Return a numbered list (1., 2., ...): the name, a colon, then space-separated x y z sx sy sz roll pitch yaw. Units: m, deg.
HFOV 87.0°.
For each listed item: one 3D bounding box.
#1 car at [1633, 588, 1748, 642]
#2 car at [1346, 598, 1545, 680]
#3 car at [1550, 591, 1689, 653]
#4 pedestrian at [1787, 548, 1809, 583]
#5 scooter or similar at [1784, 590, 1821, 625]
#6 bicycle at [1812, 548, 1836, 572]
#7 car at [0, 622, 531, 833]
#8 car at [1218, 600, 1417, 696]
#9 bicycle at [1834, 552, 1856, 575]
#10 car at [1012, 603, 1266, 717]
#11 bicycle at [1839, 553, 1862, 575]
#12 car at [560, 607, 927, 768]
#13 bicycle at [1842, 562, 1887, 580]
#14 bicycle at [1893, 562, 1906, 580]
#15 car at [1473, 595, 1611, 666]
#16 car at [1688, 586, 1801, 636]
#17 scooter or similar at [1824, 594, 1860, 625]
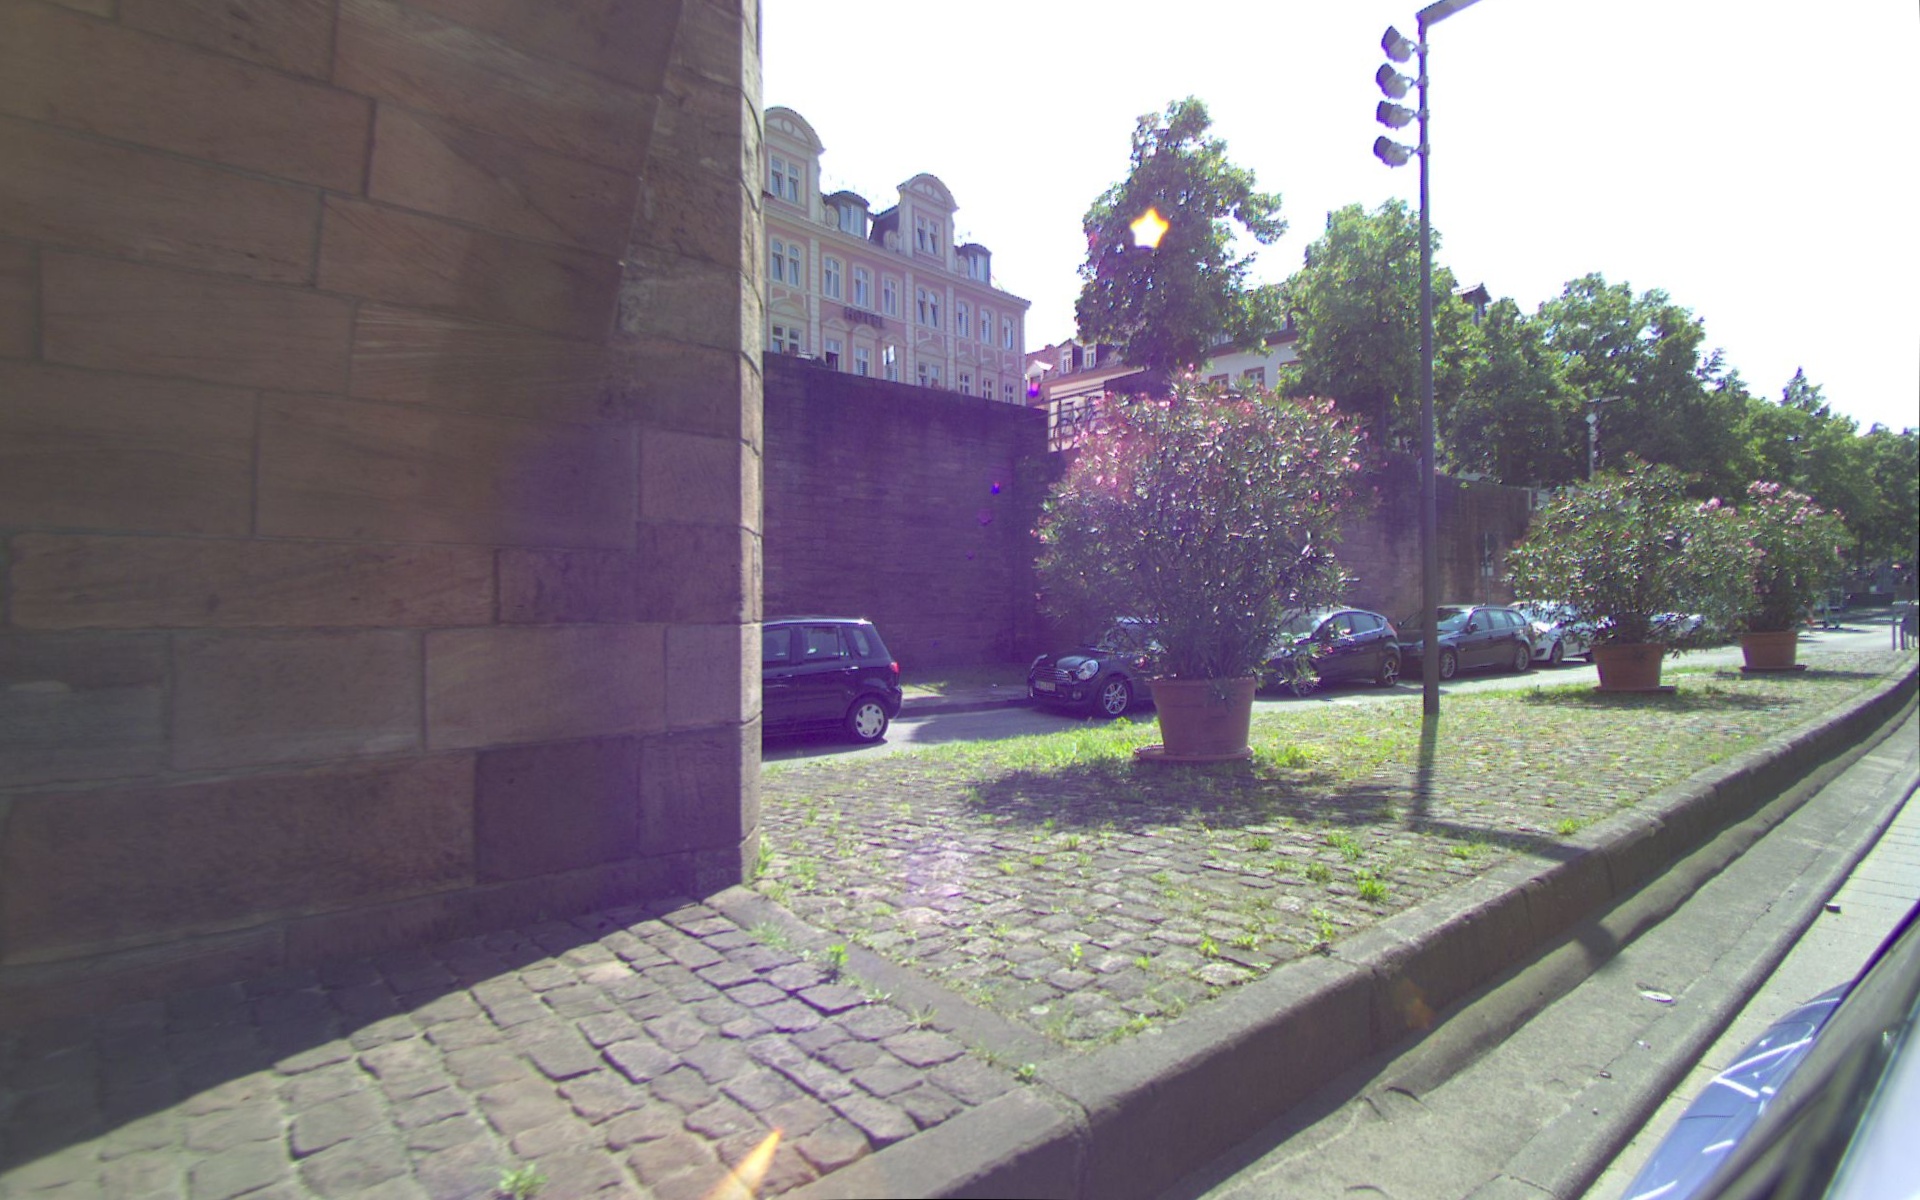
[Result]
1. car: 21.306 0.400 29.488 3.831 1.431 1.616 -1 1 -36
2. car: 10.059 0.723 20.862 4.322 1.405 1.717 -1 2 -33
3. car: 17.515 0.531 26.806 4.671 1.450 1.757 -1 1 -39
4. pedestrian: 41.580 -1.710 50.231 0.698 1.742 0.720 -1 1 -38
5. scooter or similar: 30.786 0.252 36.973 1.245 1.245 0.534 -1 1 -24
6. bicycle: 41.472 -1.903 48.557 1.701 1.119 0.411 -1 1 -34
7. car: -6.442 0.982 9.157 4.412 1.455 1.779 -1 0 -39
8. car: 6.434 0.780 18.118 3.645 1.503 1.500 -1 1 -34
9. bicycle: 44.675 -1.839 51.080 1.701 1.119 0.411 -1 1 -34
10. car: 2.837 0.840 15.811 3.826 1.540 1.597 -1 0 -32
11. bicycle: 45.924 -1.865 52.181 1.887 1.119 0.411 -1 1 -34
12. car: -2.506 0.894 12.056 3.911 1.521 1.781 0 1 -35
13. bicycle: 50.465 -1.612 56.491 0.294 1.017 1.857 0 0 -40
14. bicycle: 53.812 -1.649 57.947 1.906 1.017 0.298 0 0 -40
15. car: 13.538 0.643 23.485 3.485 1.476 1.714 -1 1 -41
16. car: 25.197 0.313 32.470 4.452 1.468 1.847 -1 1 -38
17. scooter or similar: 31.909 0.332 36.603 1.410 1.103 0.534 -1 1 -29
